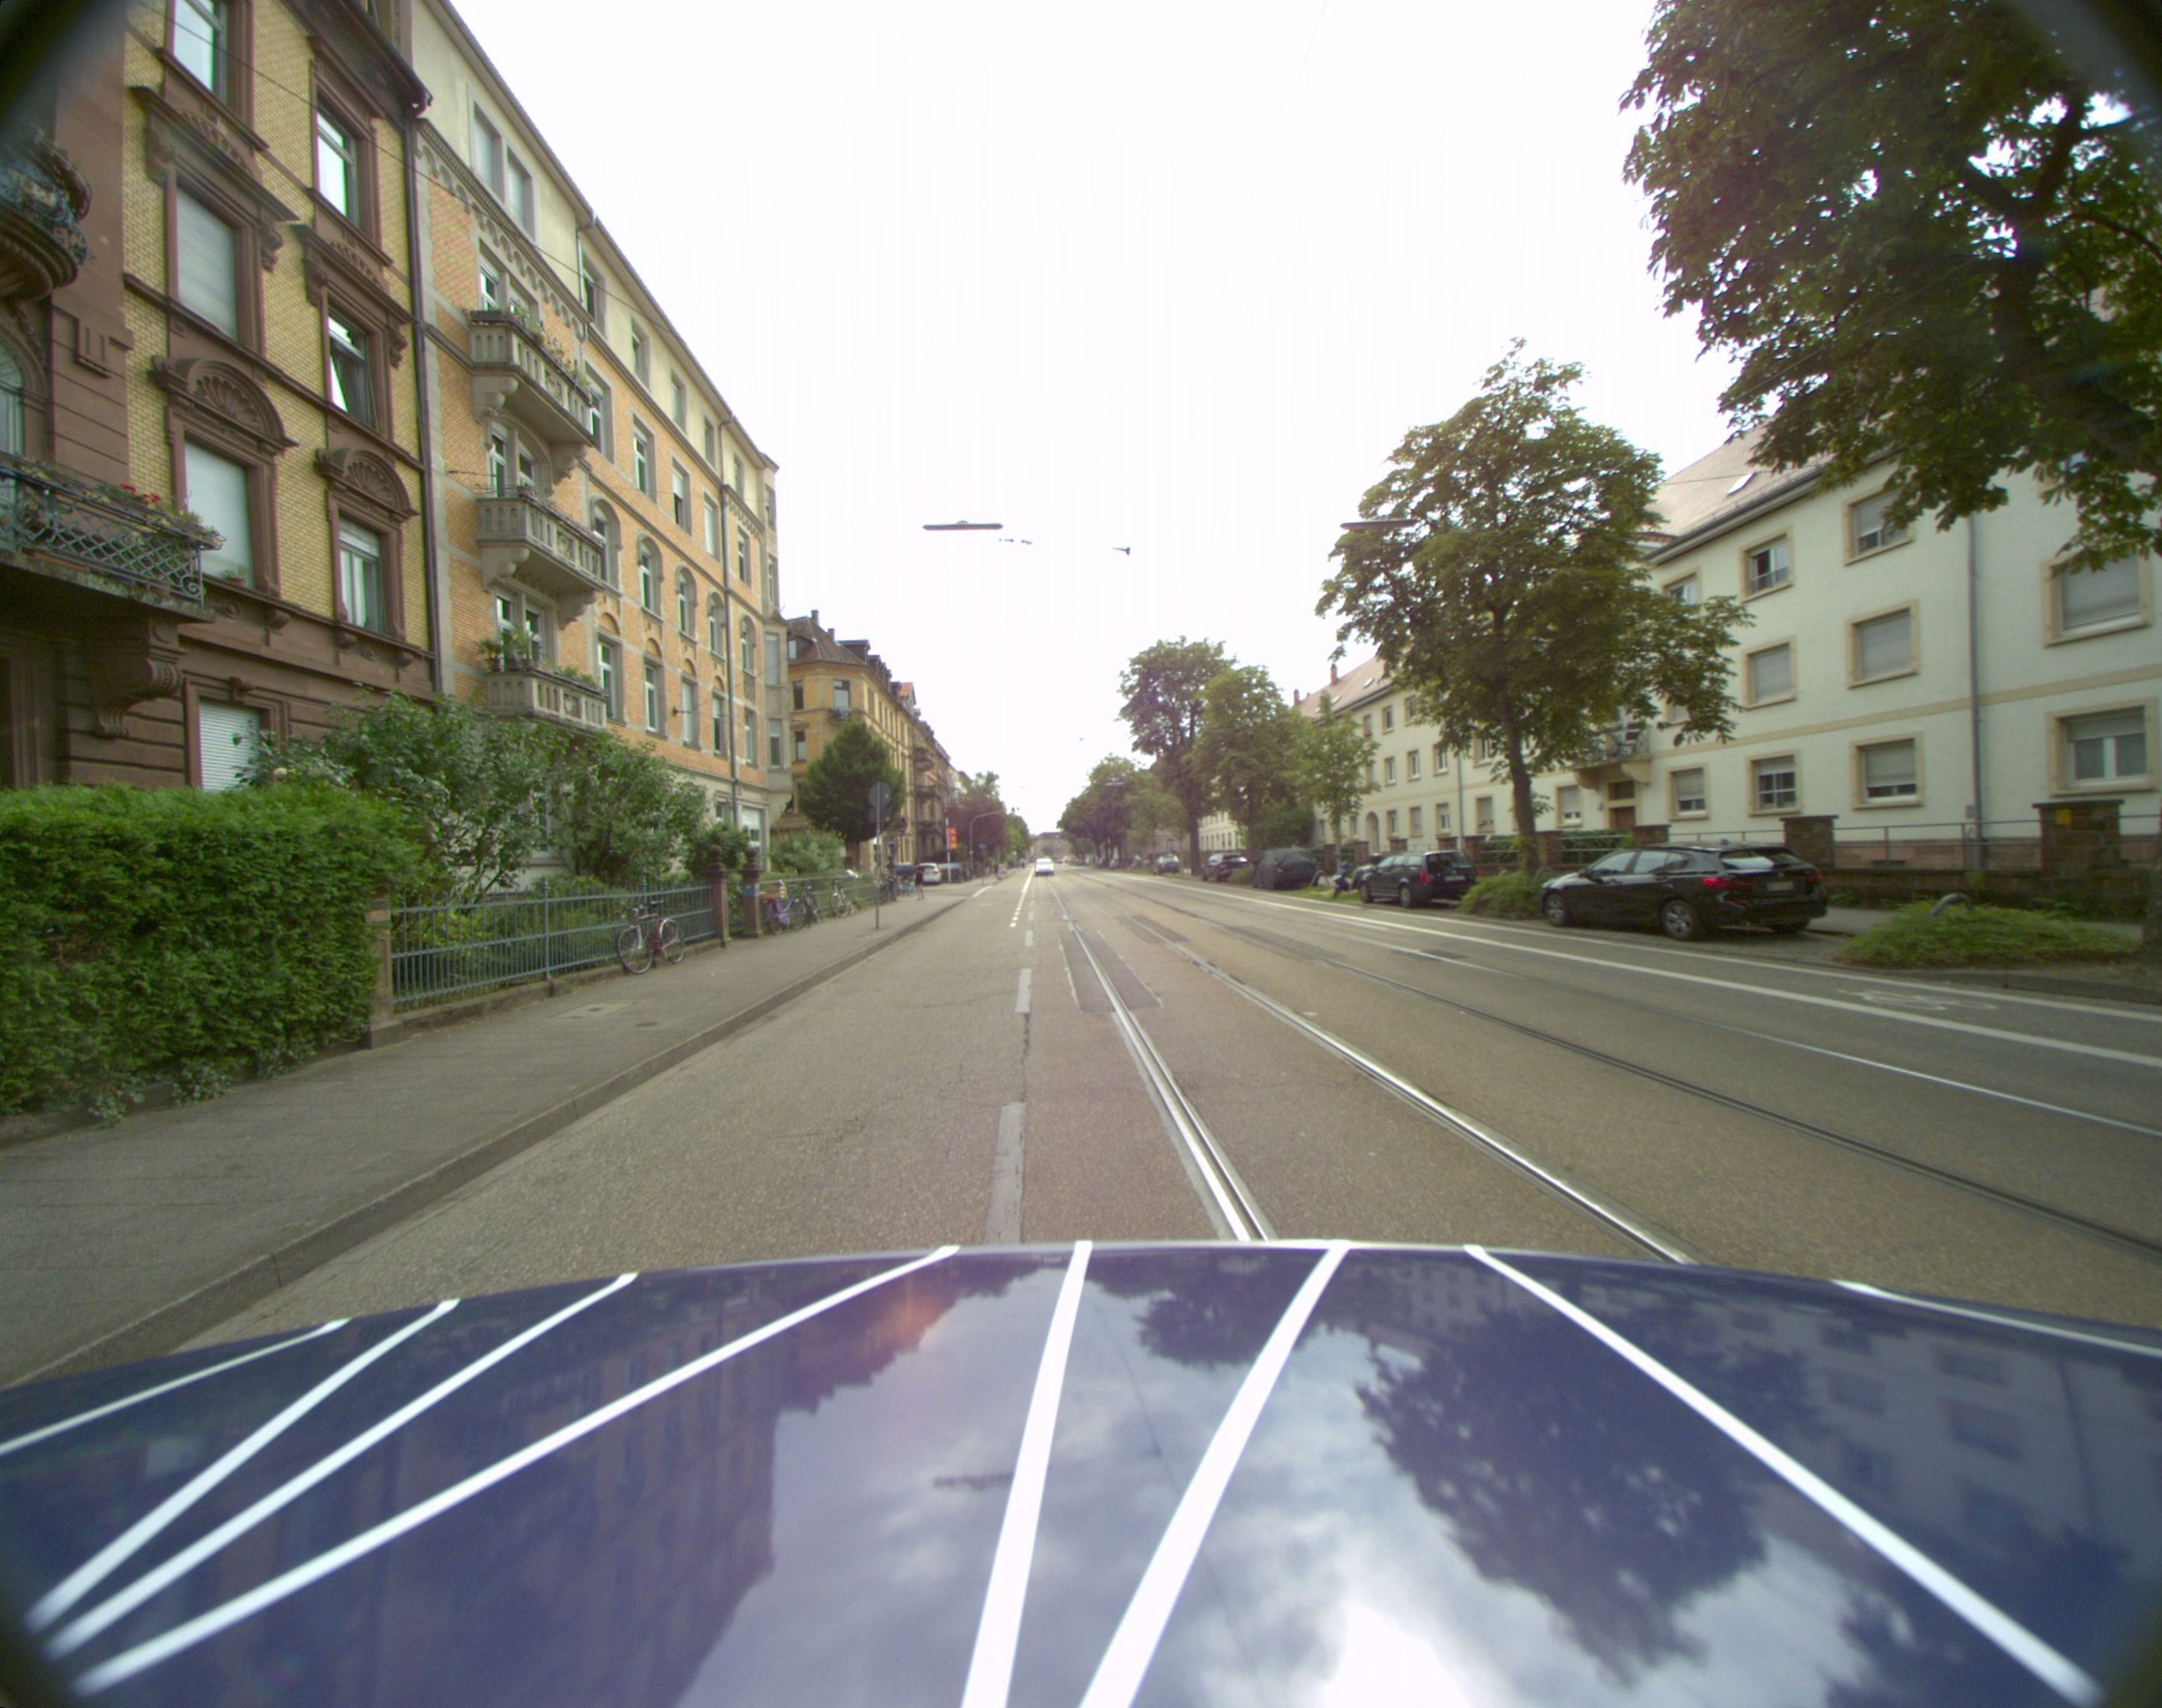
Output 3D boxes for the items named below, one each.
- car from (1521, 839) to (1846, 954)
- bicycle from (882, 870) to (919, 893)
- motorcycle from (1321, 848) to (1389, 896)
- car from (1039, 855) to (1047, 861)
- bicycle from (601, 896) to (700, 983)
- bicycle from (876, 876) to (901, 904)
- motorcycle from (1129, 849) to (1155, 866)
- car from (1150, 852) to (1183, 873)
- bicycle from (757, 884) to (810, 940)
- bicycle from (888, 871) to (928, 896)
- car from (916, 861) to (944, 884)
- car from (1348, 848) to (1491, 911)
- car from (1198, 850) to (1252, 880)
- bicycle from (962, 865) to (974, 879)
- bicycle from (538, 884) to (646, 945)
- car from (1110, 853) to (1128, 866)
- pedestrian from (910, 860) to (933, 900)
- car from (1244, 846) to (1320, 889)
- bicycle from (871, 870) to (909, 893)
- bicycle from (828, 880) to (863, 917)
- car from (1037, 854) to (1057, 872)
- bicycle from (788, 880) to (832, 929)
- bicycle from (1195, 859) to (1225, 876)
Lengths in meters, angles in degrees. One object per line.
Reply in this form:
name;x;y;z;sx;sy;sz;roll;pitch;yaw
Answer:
car;9.500;0.587;12.538;1.701;1.415;4.298;-5;0;-3
bicycle;-9.726;1.473;40.908;1.890;1.121;0.533;-2;1;14
motorcycle;8.812;0.568;24.435;1.872;1.253;0.591;-8;1;-7
car;-10.587;1.052;212.023;1.947;1.675;4.000;-2;0;1
bicycle;-6.440;1.242;11.462;0.580;1.105;1.671;-2;0;-4
bicycle;-7.157;1.323;28.302;0.580;0.977;1.671;1;0;-4
motorcycle;6.084;0.357;76.091;2.312;1.382;0.838;-7;1;29
car;6.749;0.647;60.430;1.701;1.462;4.297;-3;0;-5
bicycle;-6.560;1.245;16.820;0.580;1.105;1.671;1;0;-4
bicycle;-8.560;1.462;37.652;0.629;1.106;1.878;-2;0;40
car;-10.898;1.294;55.123;1.757;1.516;3.997;-2;0;-8
car;8.941;0.621;20.528;1.701;1.415;4.298;-4;0;-3
car;7.746;0.572;41.223;1.701;1.462;4.298;-2;0;-5
bicycle;-9.083;1.428;61.091;0.631;1.106;1.874;-2;0;-2
bicycle;-9.658;1.186;15.046;1.671;1.105;0.611;-2;0;-5
car;4.830;0.699;97.715;1.732;1.462;4.298;-2;0;-5
pedestrian;-6.726;1.082;32.071;0.732;1.614;0.835;-2;1;-3
car;8.358;0.540;31.955;1.790;1.602;4.298;-2;0;-3
bicycle;-9.997;1.463;39.834;1.890;1.121;0.533;-2;1;18
bicycle;-6.928;1.304;22.416;0.580;0.977;1.671;1;0;-4
car;-3.358;0.837;75.728;1.876;1.670;5.130;-2;0;-2
bicycle;-6.676;1.225;18.790;0.580;1.105;1.671;1;0;-4
bicycle;7.796;0.799;45.922;1.672;0.965;0.672;-2;0;-12
